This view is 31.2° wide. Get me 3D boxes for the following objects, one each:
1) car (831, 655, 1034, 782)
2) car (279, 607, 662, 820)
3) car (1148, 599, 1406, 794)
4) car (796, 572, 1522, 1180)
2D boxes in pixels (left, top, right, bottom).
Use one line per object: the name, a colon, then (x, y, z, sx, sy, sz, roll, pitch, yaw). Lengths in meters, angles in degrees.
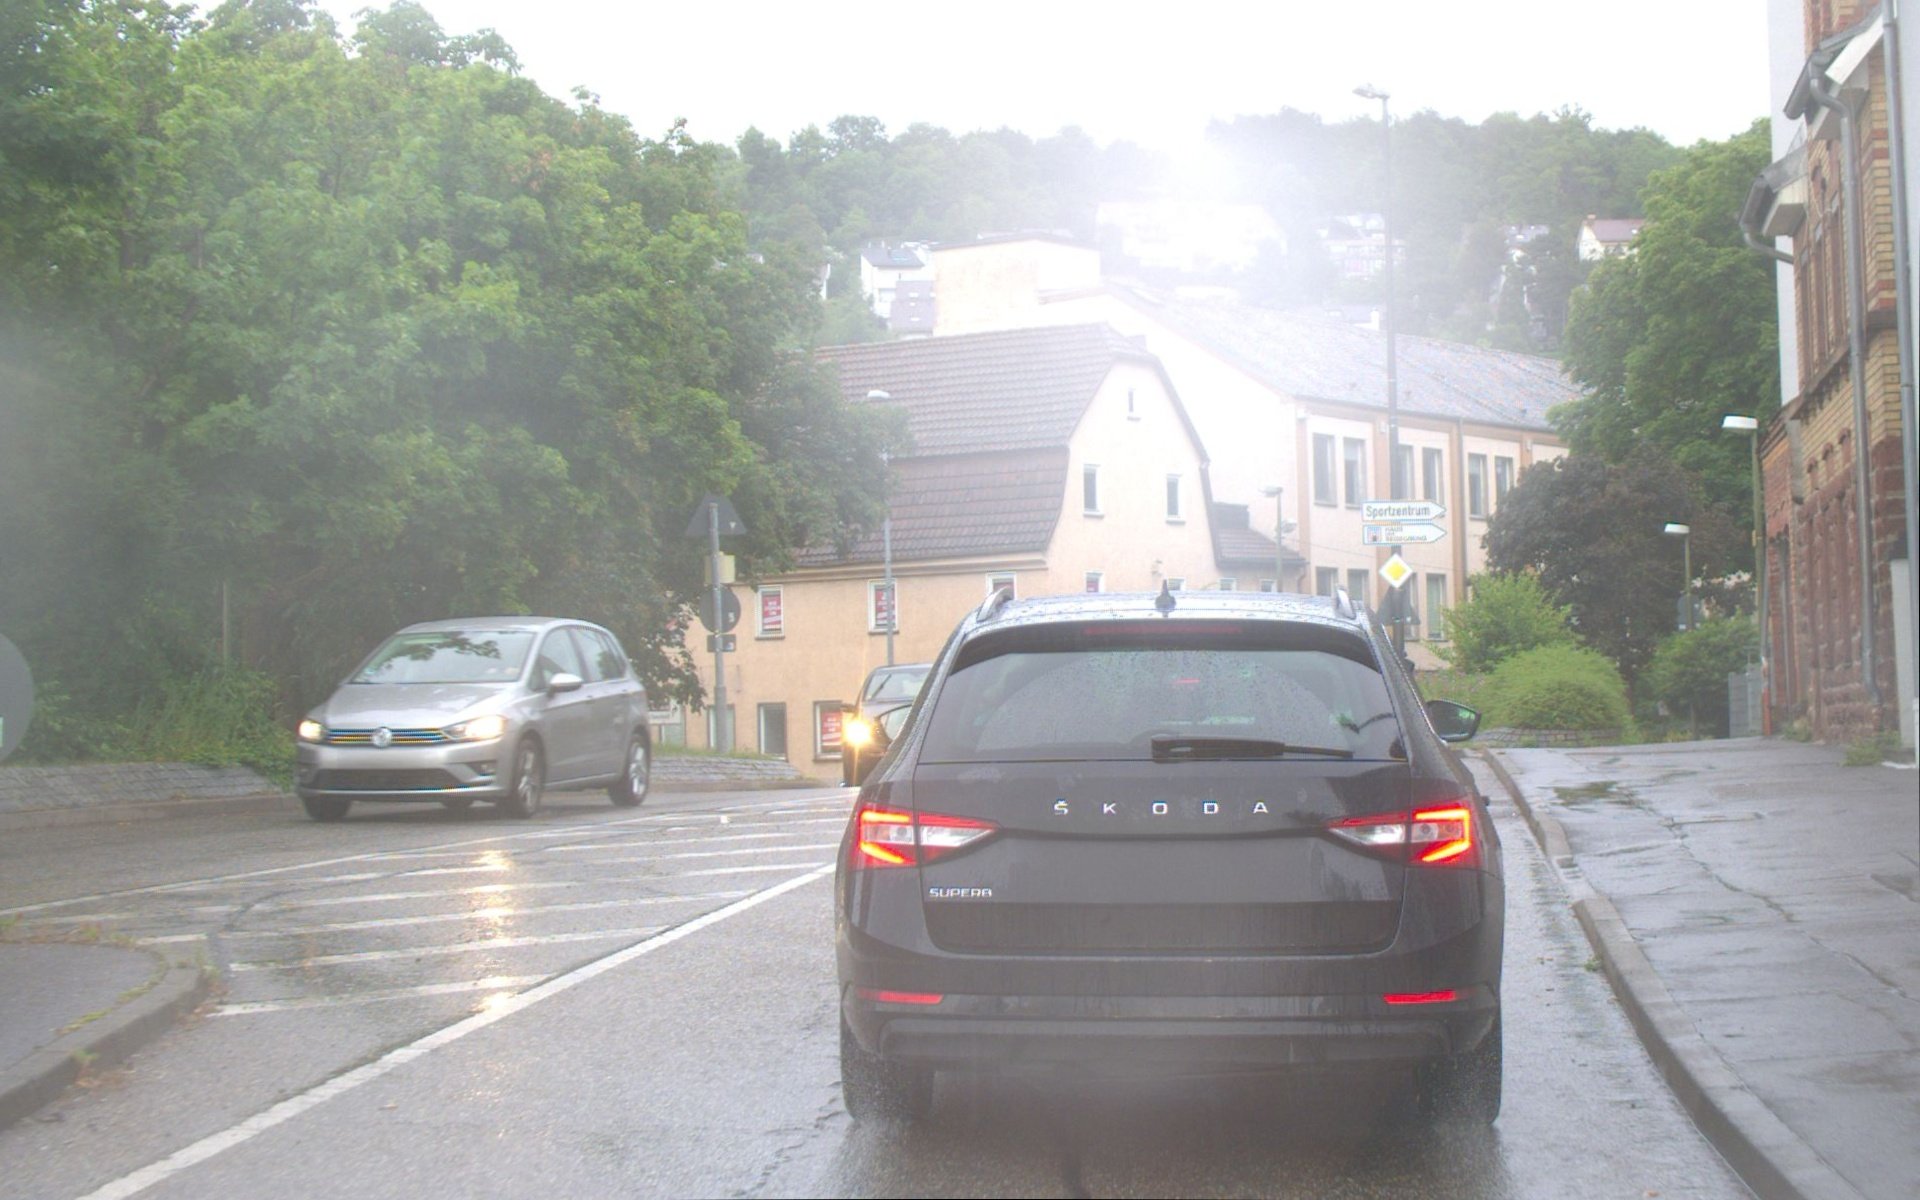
car: (-0.301, 1.494, 44.306, 1.641, 1.516, 4.068, -1, -1, 14)
car: (-3.786, 0.861, 27.301, 1.644, 1.547, 4.152, -1, -1, 12)
car: (2.522, 0.782, 26.785, 1.818, 1.355, 3.988, -2, -3, 7)
car: (0.582, 0.661, 10.613, 1.782, 1.478, 4.245, 0, 1, 3)
